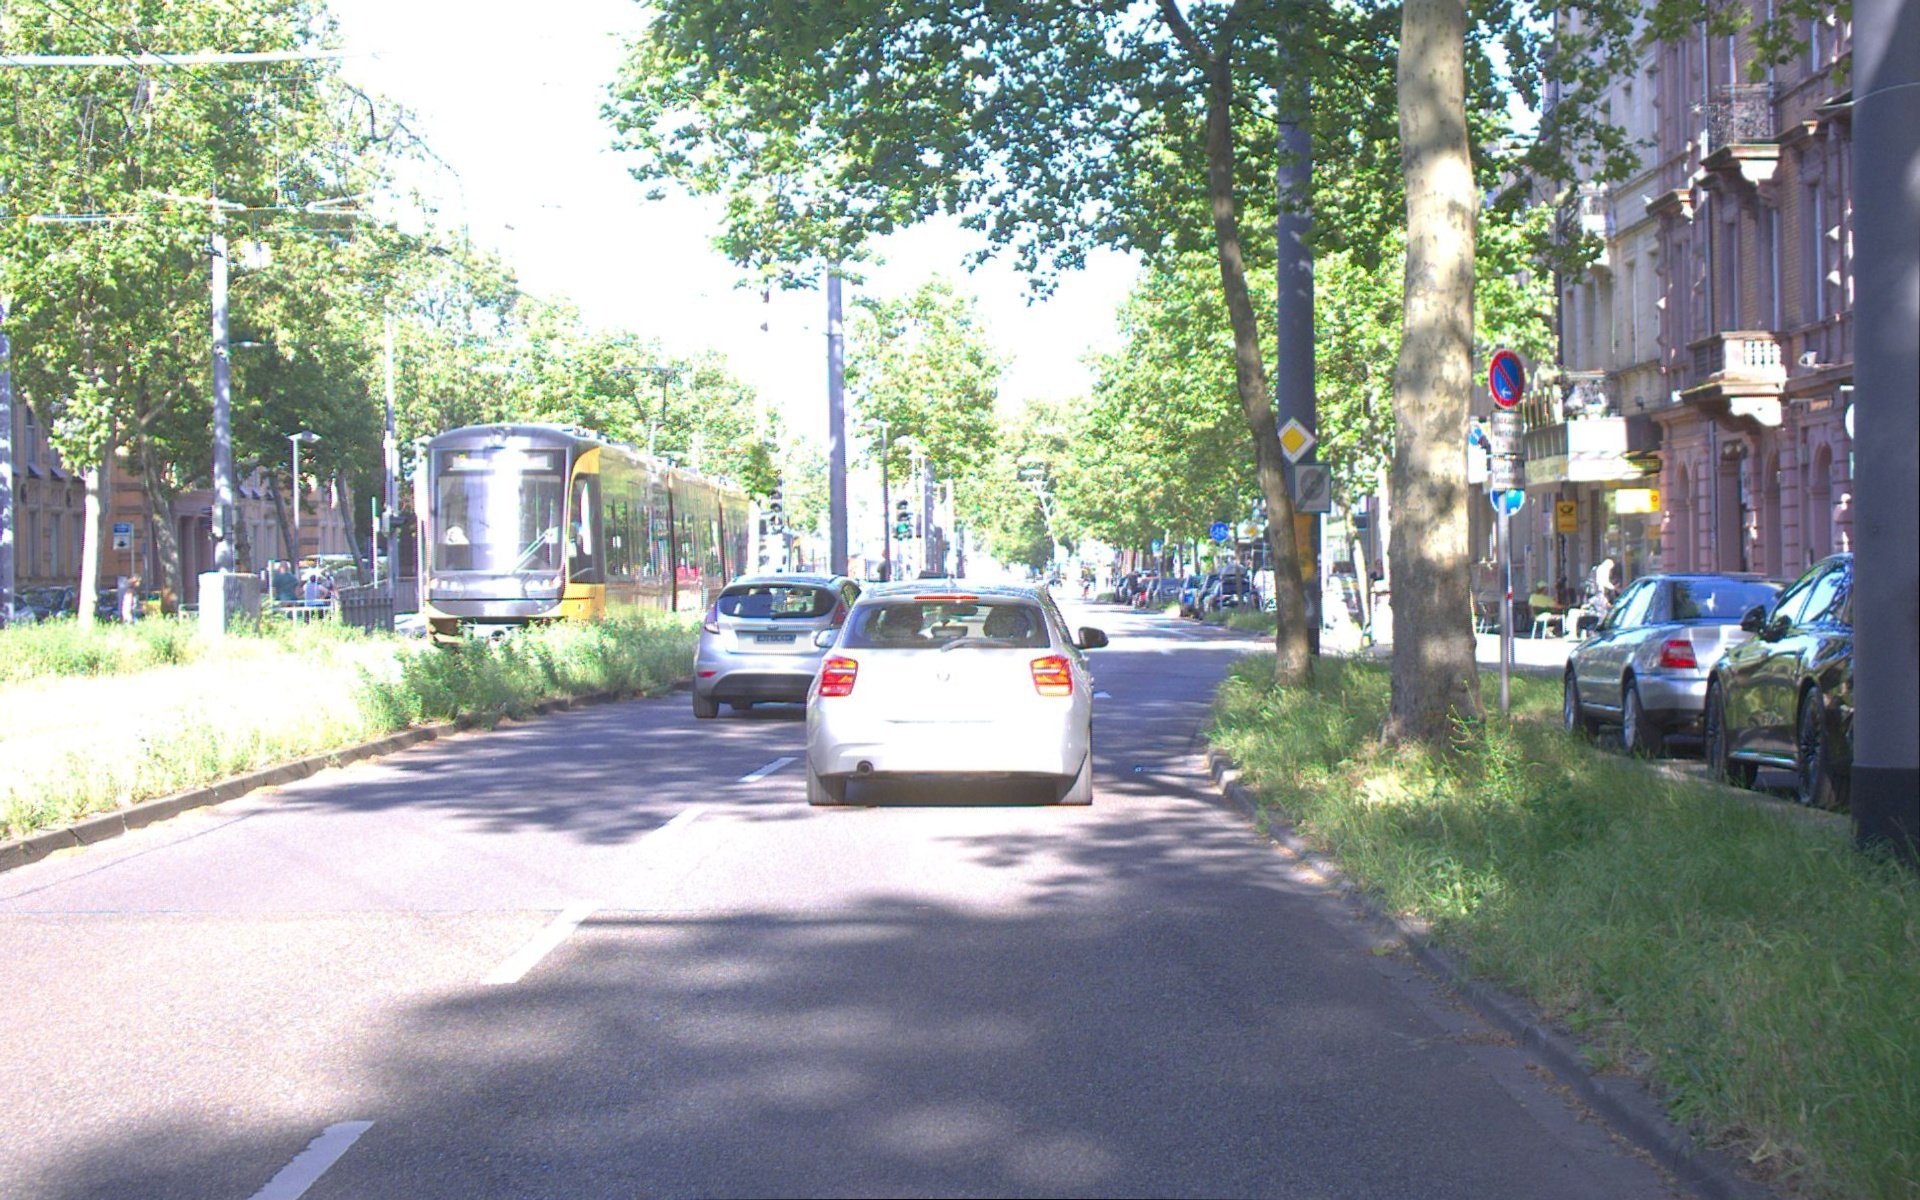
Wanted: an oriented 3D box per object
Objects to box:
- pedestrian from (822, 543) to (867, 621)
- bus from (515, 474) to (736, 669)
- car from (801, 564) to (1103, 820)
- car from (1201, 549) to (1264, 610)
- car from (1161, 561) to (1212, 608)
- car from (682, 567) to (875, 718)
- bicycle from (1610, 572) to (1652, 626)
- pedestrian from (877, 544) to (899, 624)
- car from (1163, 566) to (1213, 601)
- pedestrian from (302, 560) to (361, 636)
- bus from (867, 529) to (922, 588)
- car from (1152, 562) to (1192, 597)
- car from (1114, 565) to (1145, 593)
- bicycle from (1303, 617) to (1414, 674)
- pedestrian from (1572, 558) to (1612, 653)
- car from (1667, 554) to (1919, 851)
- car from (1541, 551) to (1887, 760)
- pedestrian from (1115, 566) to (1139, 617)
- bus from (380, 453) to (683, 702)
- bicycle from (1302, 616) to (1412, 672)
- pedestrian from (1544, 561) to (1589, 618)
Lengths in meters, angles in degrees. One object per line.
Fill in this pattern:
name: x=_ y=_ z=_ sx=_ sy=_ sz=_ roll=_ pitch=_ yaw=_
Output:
pedestrian: x=-2.866 y=-0.460 z=85.170 sx=1.072 sy=1.909 sz=1.127 roll=-1 pitch=1 yaw=-1
bus: x=-6.342 y=-0.580 z=67.135 sx=2.869 sy=3.432 sz=12.214 roll=-1 pitch=1 yaw=1
car: x=-0.047 y=0.530 z=22.483 sx=1.762 sy=1.427 sz=4.000 roll=1 pitch=1 yaw=0
car: x=9.058 y=-0.710 z=114.451 sx=1.754 sy=1.958 sz=4.737 roll=0 pitch=1 yaw=1
car: x=8.534 y=-0.589 z=129.858 sx=1.692 sy=1.652 sz=4.039 roll=0 pitch=2 yaw=1
car: x=-1.786 y=0.387 z=34.813 sx=1.647 sy=1.358 sz=3.760 roll=1 pitch=1 yaw=1
bicycle: x=12.986 y=-0.022 z=66.554 sx=0.443 sy=0.990 sz=1.689 roll=1 pitch=1 yaw=0
pedestrian: x=-1.718 y=-0.374 z=81.858 sx=0.450 sy=1.896 sz=0.585 roll=-1 pitch=1 yaw=-6
car: x=10.333 y=-0.731 z=156.182 sx=1.993 sy=1.504 sz=4.597 roll=1 pitch=0 yaw=1
pedestrian: x=-13.645 y=-0.044 z=74.649 sx=1.176 sy=1.638 sz=0.893 roll=0 pitch=0 yaw=-6
bus: x=-4.078 y=-2.706 z=218.375 sx=2.750 sy=3.613 sz=18.847 roll=0 pitch=1 yaw=1
car: x=9.931 y=-0.971 z=161.472 sx=1.669 sy=1.546 sz=4.000 roll=1 pitch=1 yaw=1
car: x=10.017 y=-1.246 z=203.357 sx=1.700 sy=1.529 sz=3.717 roll=1 pitch=1 yaw=1
bicycle: x=7.453 y=0.849 z=64.361 sx=2.003 sy=0.990 sz=0.444 roll=1 pitch=1 yaw=-1
pedestrian: x=12.221 y=0.101 z=66.479 sx=0.469 sy=1.804 sz=0.772 roll=2 pitch=1 yaw=32
car: x=5.413 y=0.506 z=19.774 sx=1.806 sy=1.484 sz=4.919 roll=1 pitch=1 yaw=2
car: x=5.822 y=0.371 z=27.067 sx=1.700 sy=1.419 sz=4.517 roll=1 pitch=1 yaw=0
pedestrian: x=6.641 y=-0.339 z=136.717 sx=0.838 sy=2.007 sz=0.648 roll=2 pitch=1 yaw=8
bus: x=-6.497 y=-0.391 z=54.446 sx=2.869 sy=3.432 sz=13.216 roll=-1 pitch=1 yaw=1
bicycle: x=7.496 y=0.824 z=64.946 sx=2.014 sy=0.990 sz=0.444 roll=1 pitch=1 yaw=-1
pedestrian: x=12.586 y=-0.220 z=71.342 sx=0.771 sy=1.157 sz=0.469 roll=1 pitch=1 yaw=-24
